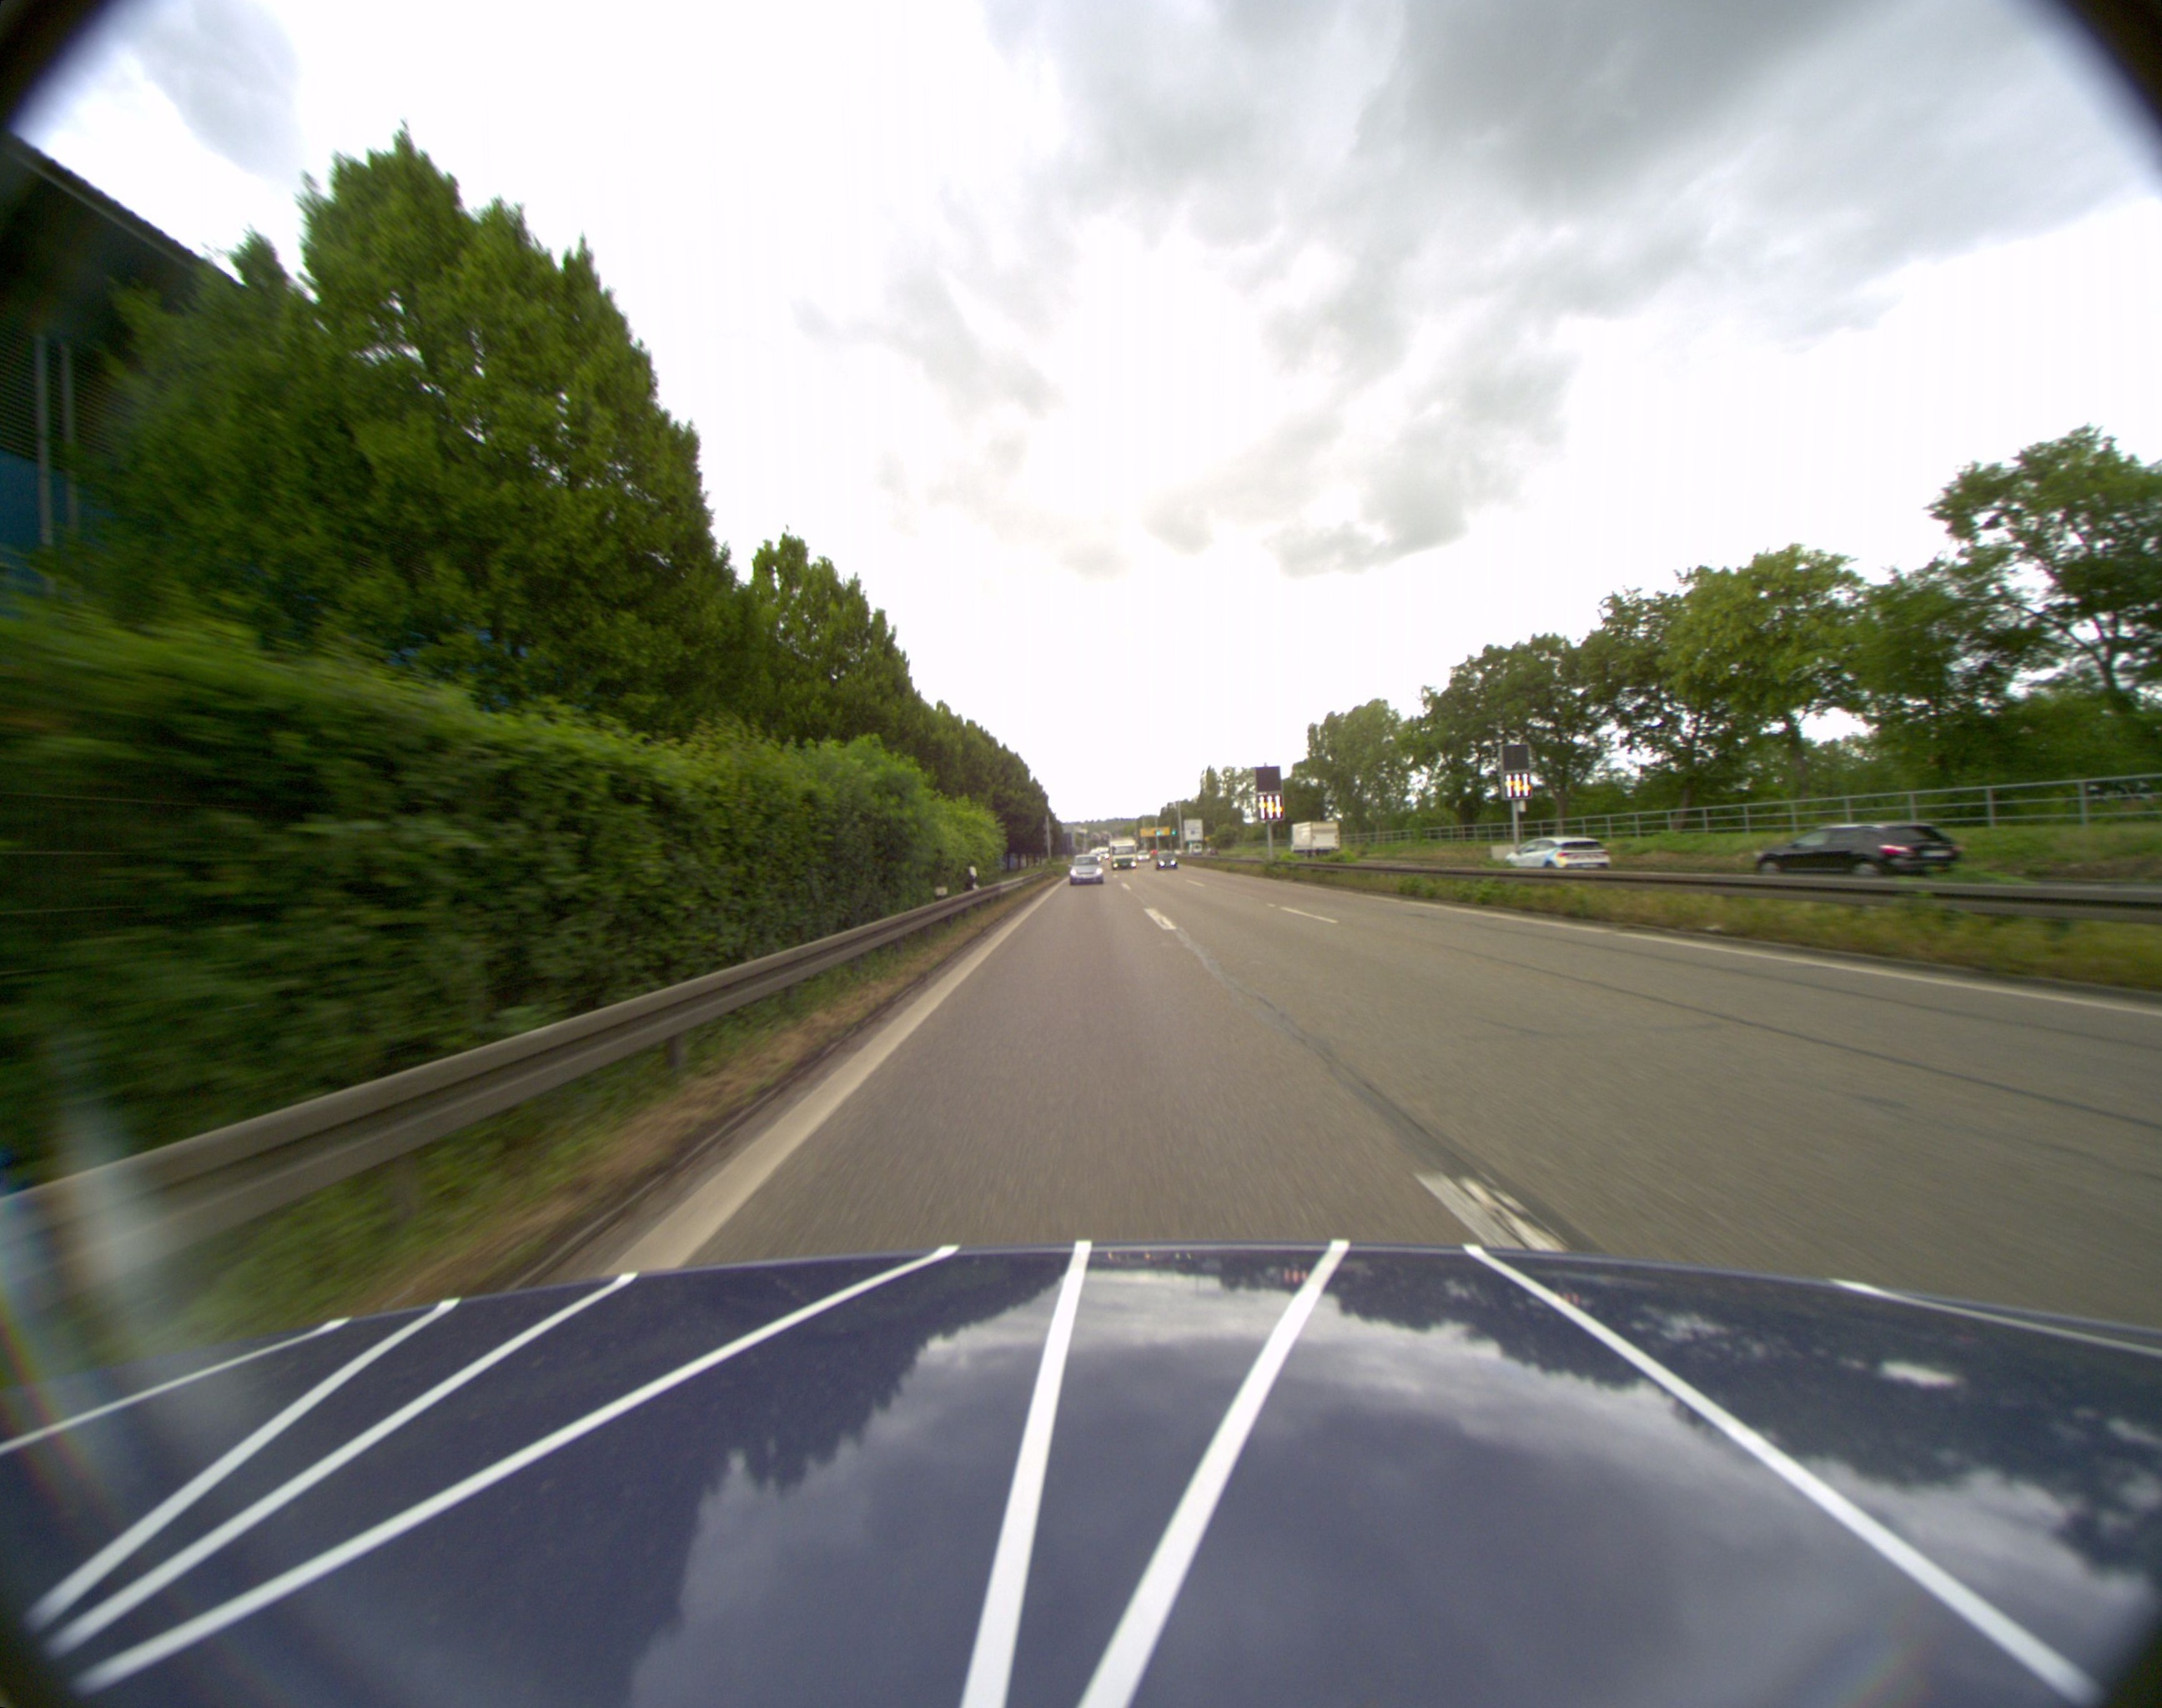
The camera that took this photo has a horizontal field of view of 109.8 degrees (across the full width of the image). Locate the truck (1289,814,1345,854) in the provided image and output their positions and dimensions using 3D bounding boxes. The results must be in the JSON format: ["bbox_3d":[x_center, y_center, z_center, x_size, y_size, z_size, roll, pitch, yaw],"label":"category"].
[{"bbox_3d":[23.007,-1.866,74.786,2.896,3.558,9.588,-3,1,3],"label":"truck"}]

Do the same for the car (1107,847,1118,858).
[{"bbox_3d":[6.689,-0.338,161.469,1.949,2.176,4.000,-4,0,0],"label":"car"}]

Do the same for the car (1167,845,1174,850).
[{"bbox_3d":[27.482,-1.883,233.117,1.664,1.291,4.788,-4,0,0],"label":"car"}]

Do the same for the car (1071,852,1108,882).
[{"bbox_3d":[0.471,0.703,43.124,1.883,1.530,4.146,-4,0,0],"label":"car"}]

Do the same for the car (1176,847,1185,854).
[{"bbox_3d":[22.581,-0.769,172.923,1.663,1.390,3.989,-2,0,1],"label":"car"}]

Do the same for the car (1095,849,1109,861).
[{"bbox_3d":[3.147,0.156,116.070,1.883,1.714,4.146,-4,0,0],"label":"car"}]

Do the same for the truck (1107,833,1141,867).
[{"bbox_3d":[4.343,-0.382,79.519,2.657,3.121,12.509,-4,0,0],"label":"truck"}]

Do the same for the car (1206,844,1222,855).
[{"bbox_3d":[21.469,-0.727,122.869,1.883,1.714,4.147,-4,0,3],"label":"car"}]

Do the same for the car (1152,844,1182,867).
[{"bbox_3d":[7.160,0.139,63.553,1.883,1.714,4.146,-4,0,0],"label":"car"}]

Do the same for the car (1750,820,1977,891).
[{"bbox_3d":[19.884,0.030,19.606,1.730,1.595,4.042,-1,0,1],"label":"car"}]

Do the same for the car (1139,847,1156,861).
[{"bbox_3d":[9.152,-0.027,105.215,1.883,1.714,4.146,-4,0,0],"label":"car"}]

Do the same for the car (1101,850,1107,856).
[{"bbox_3d":[7.261,-0.432,241.594,1.949,1.811,4.000,-2,0,0],"label":"car"}]

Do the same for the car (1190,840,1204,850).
[{"bbox_3d":[22.214,-1.718,145.717,2.231,1.936,5.474,-3,0,3],"label":"car"}]

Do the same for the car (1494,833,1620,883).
[{"bbox_3d":[16.851,0.121,27.198,1.702,1.595,4.538,-1,0,1],"label":"car"}]
